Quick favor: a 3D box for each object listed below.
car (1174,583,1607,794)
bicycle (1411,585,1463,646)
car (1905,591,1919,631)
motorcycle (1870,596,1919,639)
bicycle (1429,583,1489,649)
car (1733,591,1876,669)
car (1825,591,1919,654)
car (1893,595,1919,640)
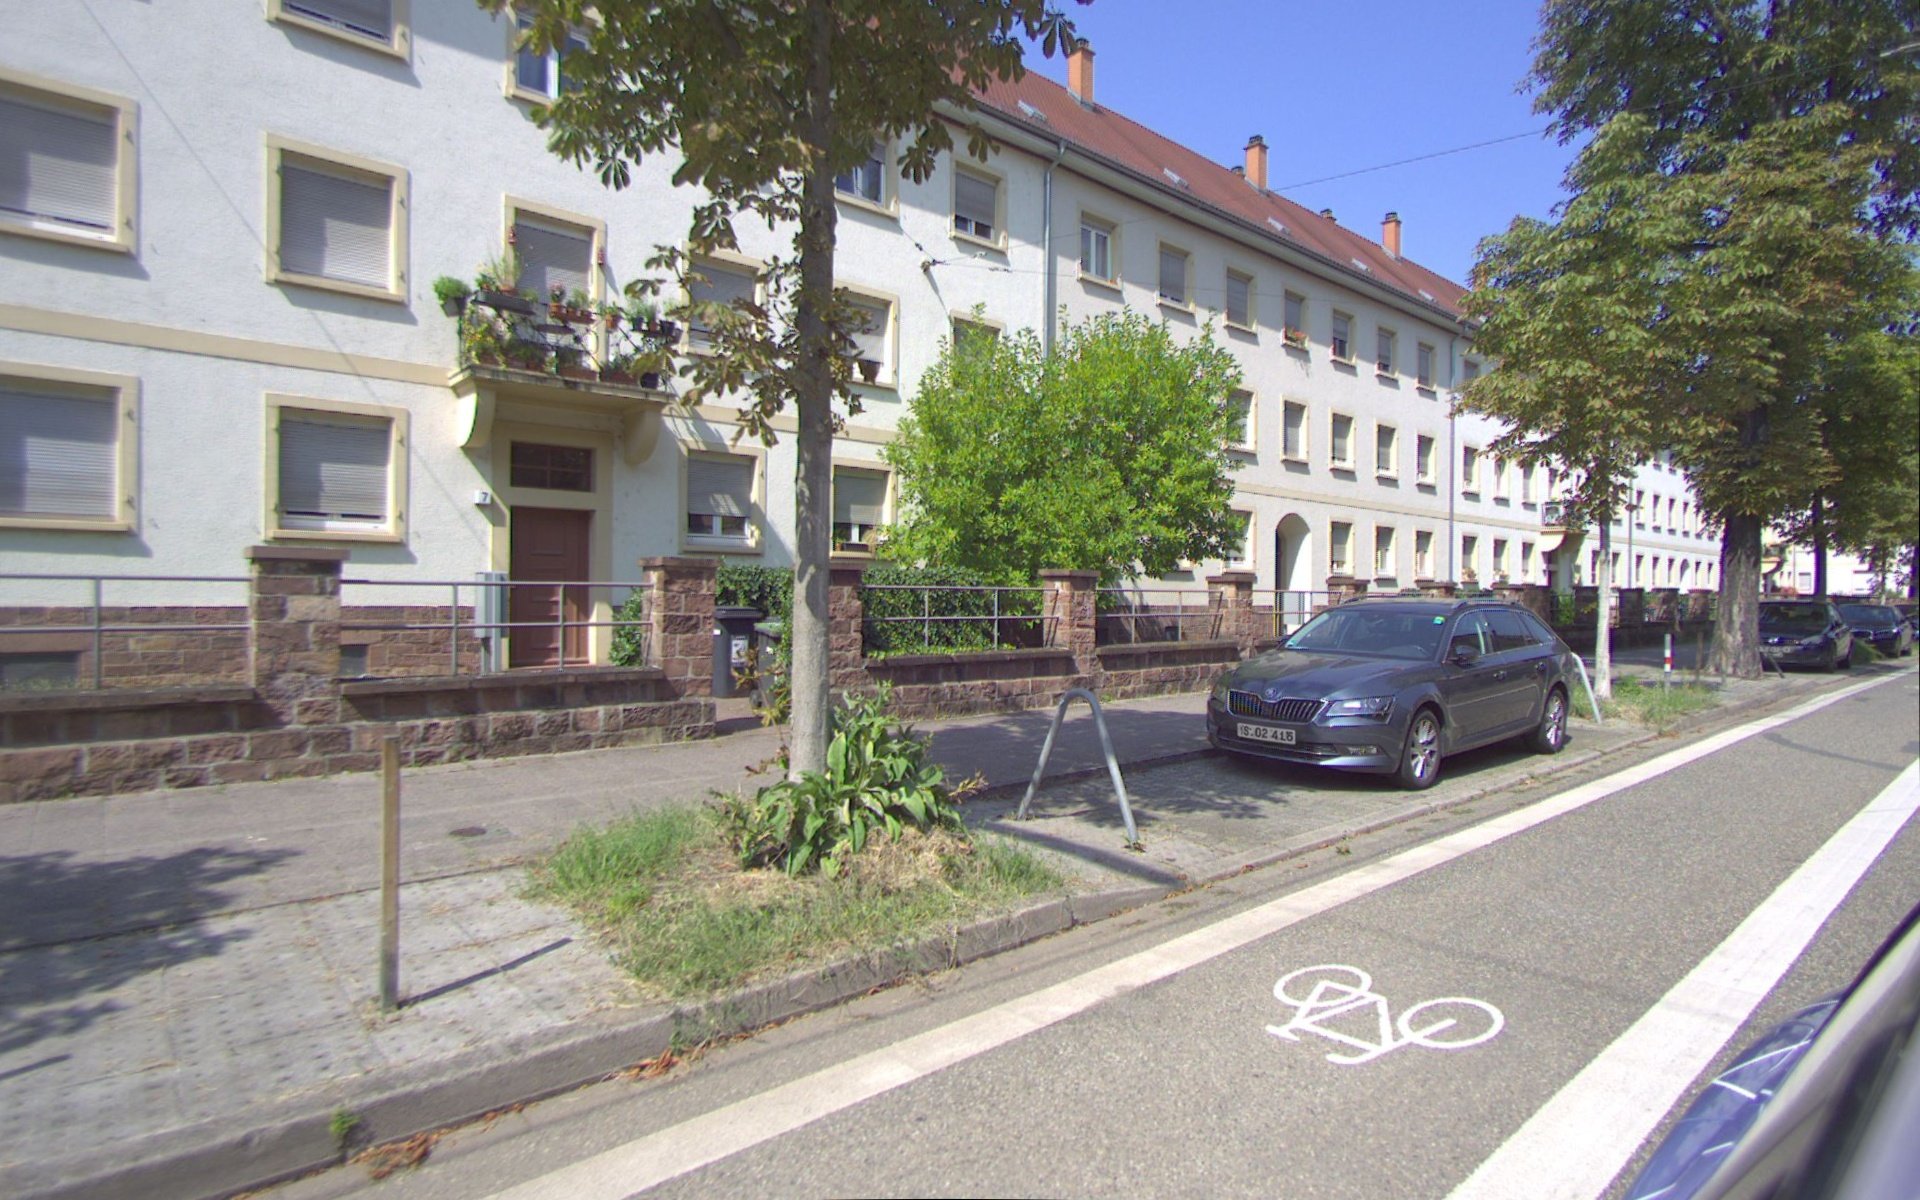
[{"bbox_3d":[4.217,0.603,9.476,4.756,1.496,1.895,0,1,-42],"label":"car"},{"bbox_3d":[10.261,0.324,21.755,1.552,1.273,0.402,0,1,-41],"label":"bicycle"},{"bbox_3d":[39.723,0.452,40.807,3.432,1.549,1.623,0,2,-35],"label":"car"},{"bbox_3d":[30.943,0.569,32.876,0.769,1.385,2.006,0,1,-43],"label":"motorcycle"},{"bbox_3d":[10.585,0.313,21.431,1.859,1.350,0.456,0,1,-41],"label":"bicycle"},{"bbox_3d":[18.086,0.559,21.612,4.311,1.496,1.758,0,1,-42],"label":"car"},{"bbox_3d":[25.888,0.562,28.406,4.380,1.495,1.759,-1,4,-41],"label":"car"},{"bbox_3d":[34.026,0.601,35.394,3.968,1.495,1.620,0,2,-41],"label":"car"}]
